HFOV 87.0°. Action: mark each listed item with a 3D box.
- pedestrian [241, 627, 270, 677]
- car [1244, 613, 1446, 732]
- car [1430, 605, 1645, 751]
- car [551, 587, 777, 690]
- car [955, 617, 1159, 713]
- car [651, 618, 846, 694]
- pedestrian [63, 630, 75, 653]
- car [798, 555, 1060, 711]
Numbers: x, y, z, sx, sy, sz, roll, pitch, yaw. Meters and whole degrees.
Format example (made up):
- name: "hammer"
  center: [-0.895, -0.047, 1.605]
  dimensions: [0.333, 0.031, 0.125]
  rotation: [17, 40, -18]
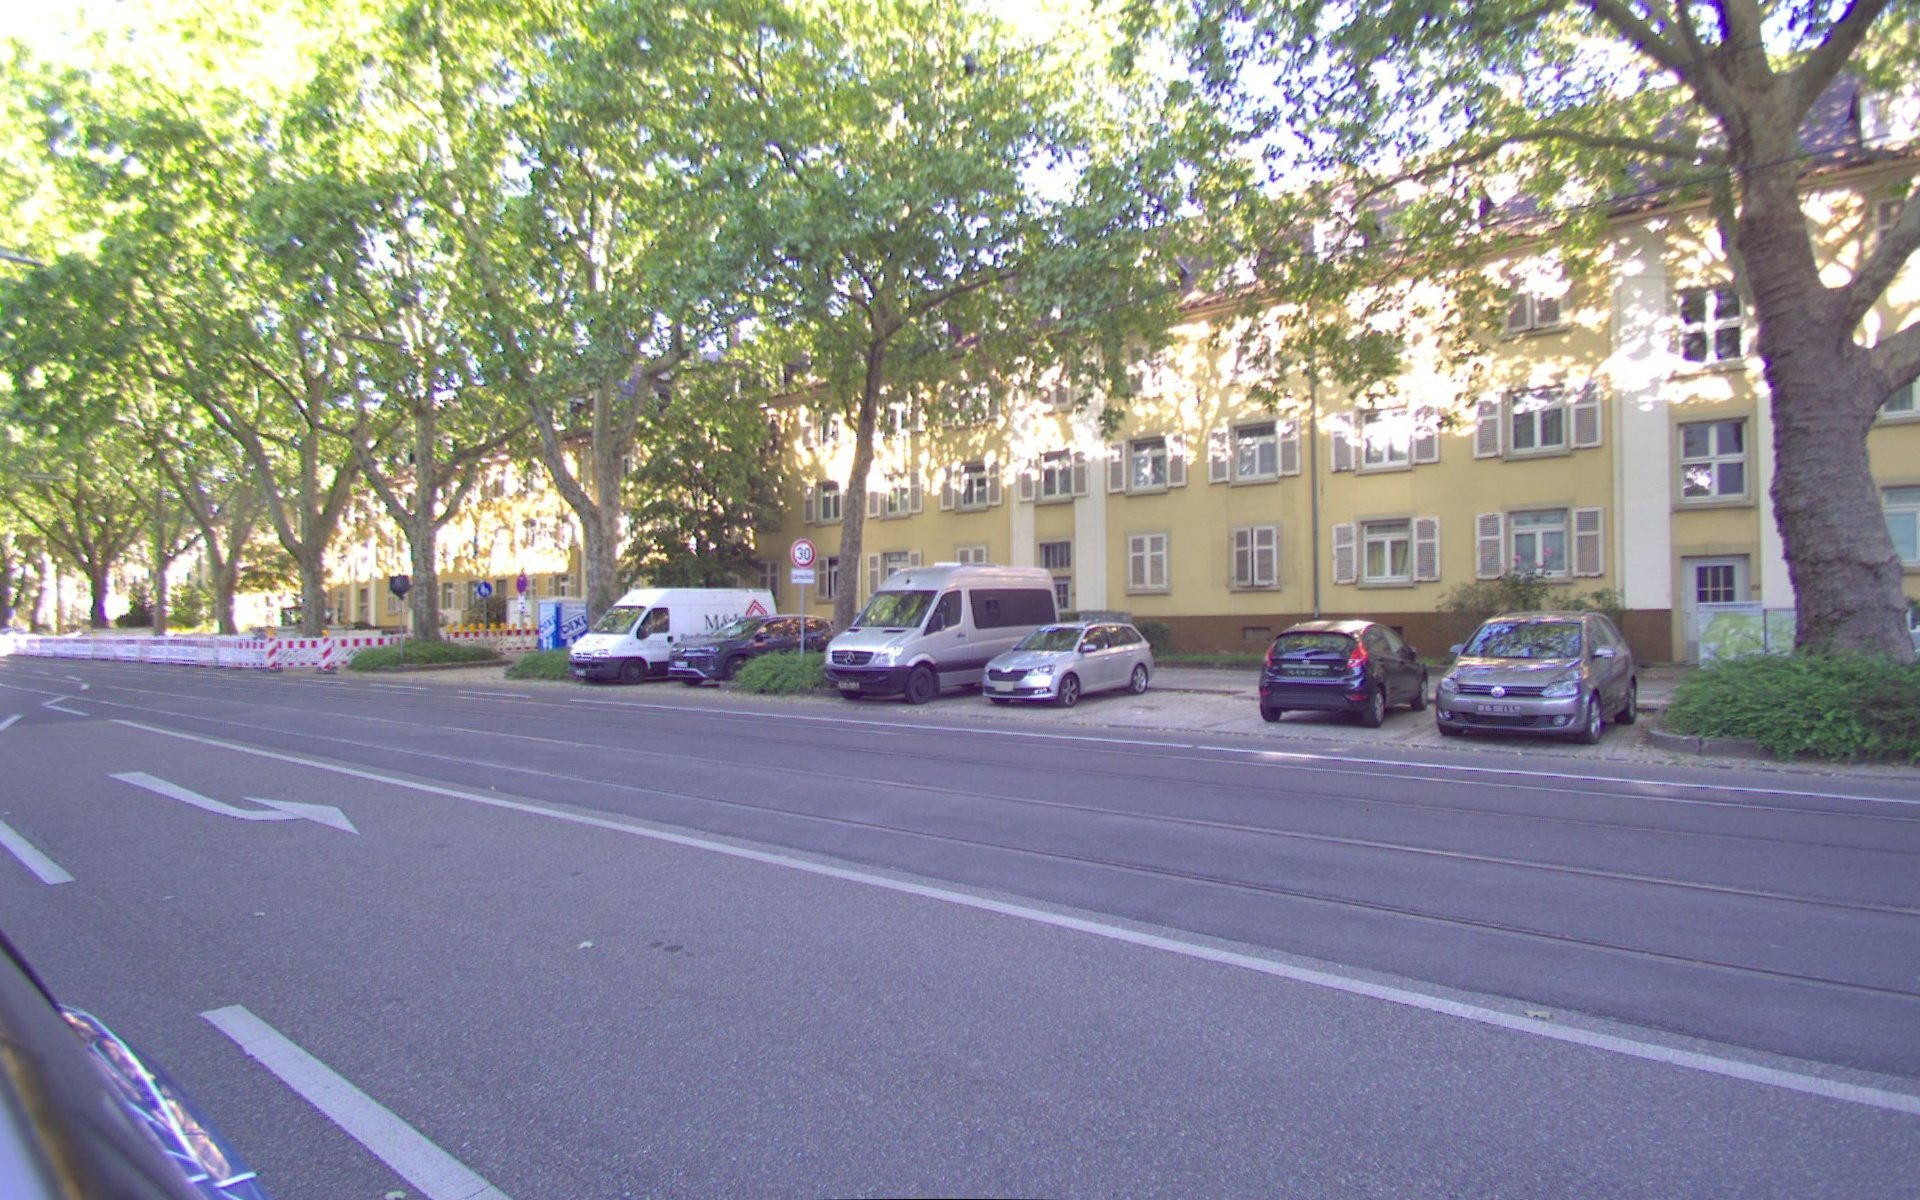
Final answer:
- name: "pedestrian"
  center: [-25.629, 1.883, 36.841]
  dimensions: [0.579, 1.759, 0.648]
  rotation: [-1, 0, 20]
- name: "car"
  center: [5.957, 1.004, 15.429]
  dimensions: [1.671, 1.509, 3.756]
  rotation: [-2, -1, 41]
- name: "car"
  center: [7.734, 0.901, 13.378]
  dimensions: [1.672, 1.592, 3.928]
  rotation: [-2, -1, 41]
- name: "car"
  center: [-7.570, 0.968, 26.385]
  dimensions: [2.222, 2.394, 5.336]
  rotation: [-2, -2, 40]
- name: "car"
  center: [1.903, 1.124, 18.846]
  dimensions: [1.773, 1.509, 4.031]
  rotation: [-2, -1, 41]
- name: "car"
  center: [-4.988, 1.279, 24.458]
  dimensions: [1.772, 1.664, 4.570]
  rotation: [-2, -2, 38]
- name: "pedestrian"
  center: [-74.679, 3.451, 84.824]
  dimensions: [0.722, 1.900, 0.666]
  rotation: [-1, 0, -42]
- name: "car"
  center: [-0.436, 0.612, 20.458]
  dimensions: [2.221, 2.702, 5.596]
  rotation: [-2, -1, 38]
